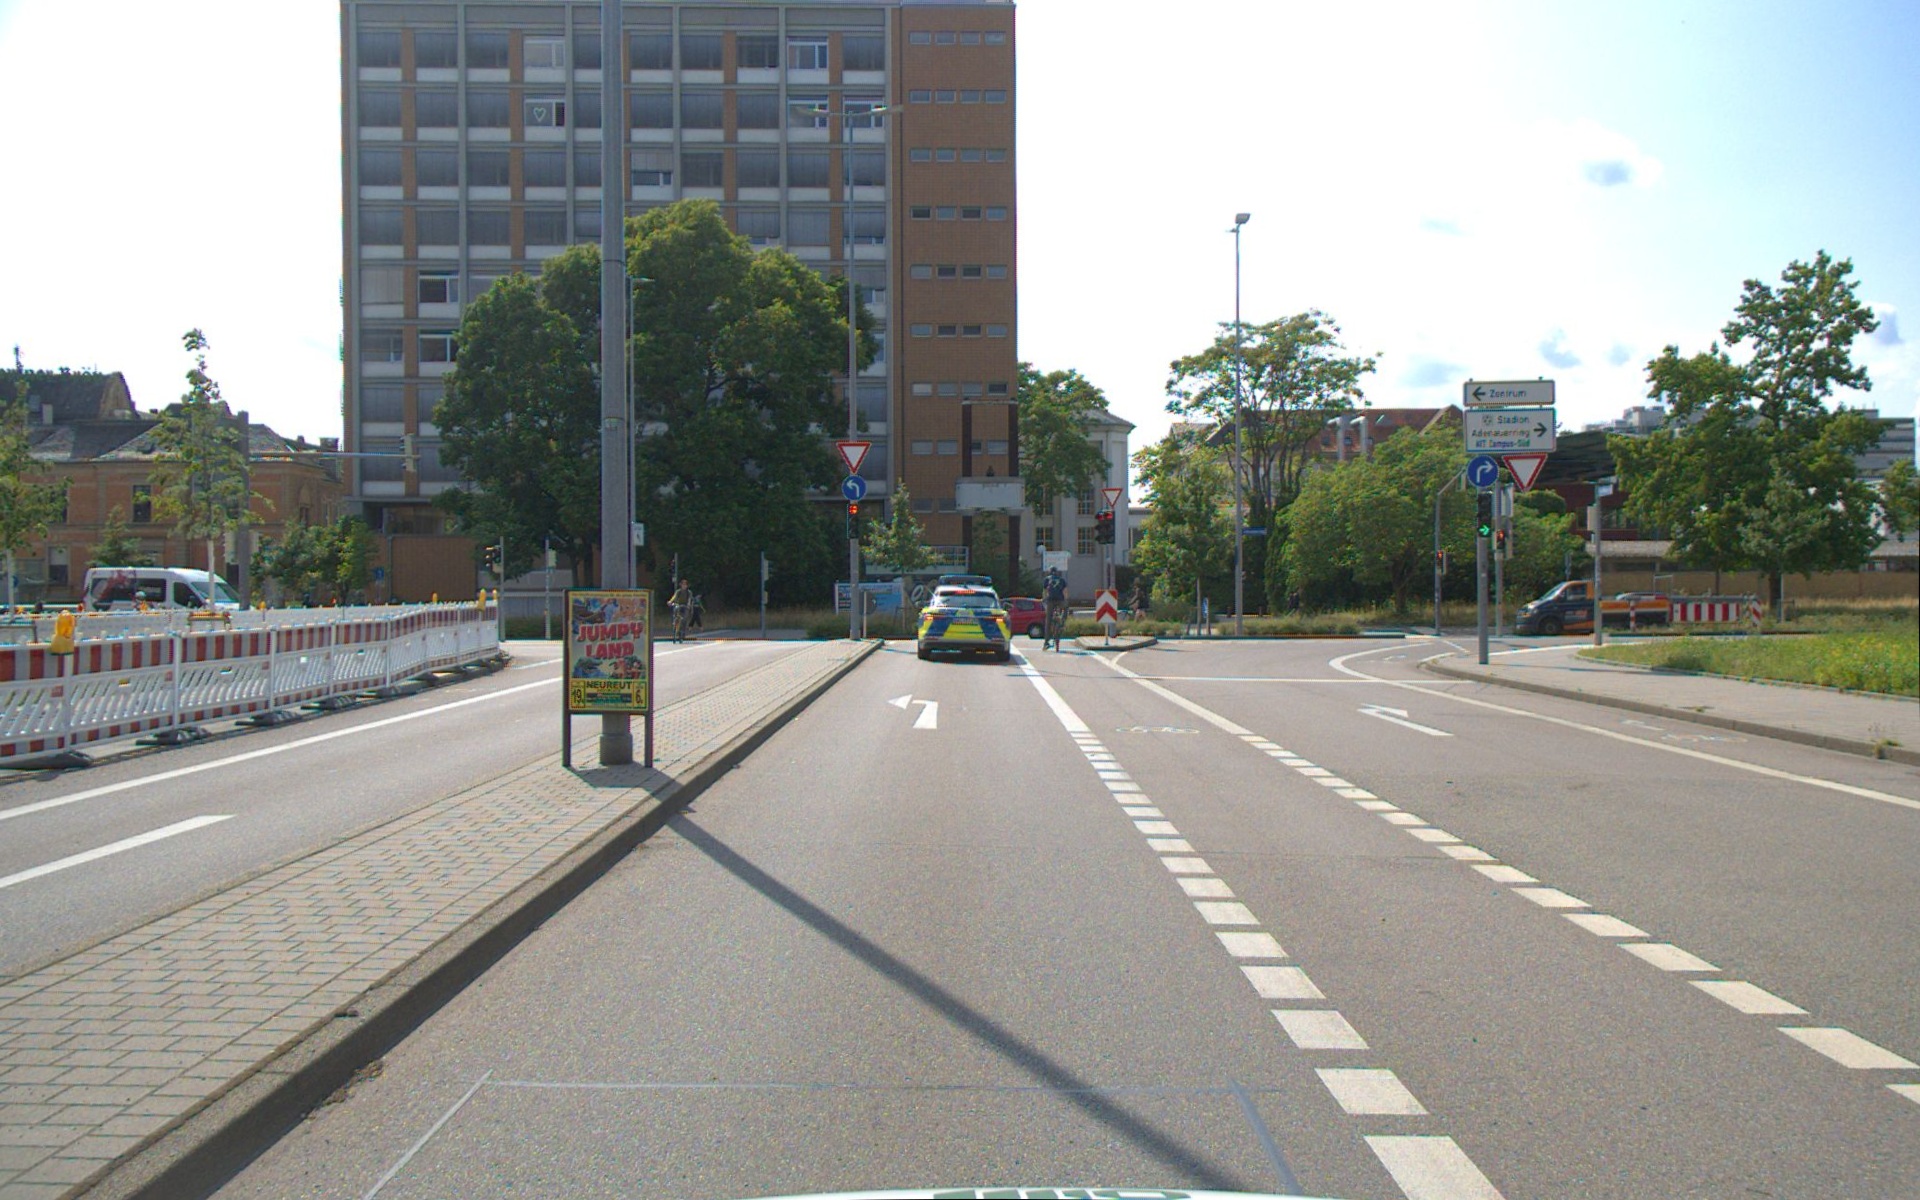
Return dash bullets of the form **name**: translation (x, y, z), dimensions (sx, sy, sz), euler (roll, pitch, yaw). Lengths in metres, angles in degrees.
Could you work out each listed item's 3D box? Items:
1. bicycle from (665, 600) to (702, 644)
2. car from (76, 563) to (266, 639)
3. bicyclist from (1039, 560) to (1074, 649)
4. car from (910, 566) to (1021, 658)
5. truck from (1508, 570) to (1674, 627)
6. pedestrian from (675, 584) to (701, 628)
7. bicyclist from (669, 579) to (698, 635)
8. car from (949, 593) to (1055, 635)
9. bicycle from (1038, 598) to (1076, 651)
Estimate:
- **bicycle**: translation (-7.514, 0.583, 44.994), dimensions (0.621, 1.102, 2.191), euler (-1, 2, 0)
- **car**: translation (-25.490, 0.039, 53.476), dimensions (5.453, 2.359, 2.303), euler (-1, 0, 18)
- **bicyclist**: translation (2.200, 0.090, 37.739), dimensions (0.703, 2.007, 0.839), euler (-1, 1, -1)
- **car**: translation (0.089, 0.209, 33.521), dimensions (2.087, 1.713, 4.102), euler (1, 1, -1)
- **truck**: translation (21.723, -0.044, 57.104), dimensions (5.007, 1.870, 2.002), euler (-1, 0, 8)
- **pedestrian**: translation (-12.060, 0.273, 73.405), dimensions (0.923, 1.916, 0.908), euler (-1, 0, 3)
- **bicyclist**: translation (-7.518, 0.174, 45.024), dimensions (0.621, 1.496, 0.839), euler (-1, 1, 0)
- **car**: translation (1.544, 0.502, 60.530), dimensions (3.644, 1.482, 1.628), euler (-1, 0, 12)
- **bicycle**: translation (2.206, 0.551, 37.676), dimensions (0.706, 1.102, 2.191), euler (-1, 2, -1)
